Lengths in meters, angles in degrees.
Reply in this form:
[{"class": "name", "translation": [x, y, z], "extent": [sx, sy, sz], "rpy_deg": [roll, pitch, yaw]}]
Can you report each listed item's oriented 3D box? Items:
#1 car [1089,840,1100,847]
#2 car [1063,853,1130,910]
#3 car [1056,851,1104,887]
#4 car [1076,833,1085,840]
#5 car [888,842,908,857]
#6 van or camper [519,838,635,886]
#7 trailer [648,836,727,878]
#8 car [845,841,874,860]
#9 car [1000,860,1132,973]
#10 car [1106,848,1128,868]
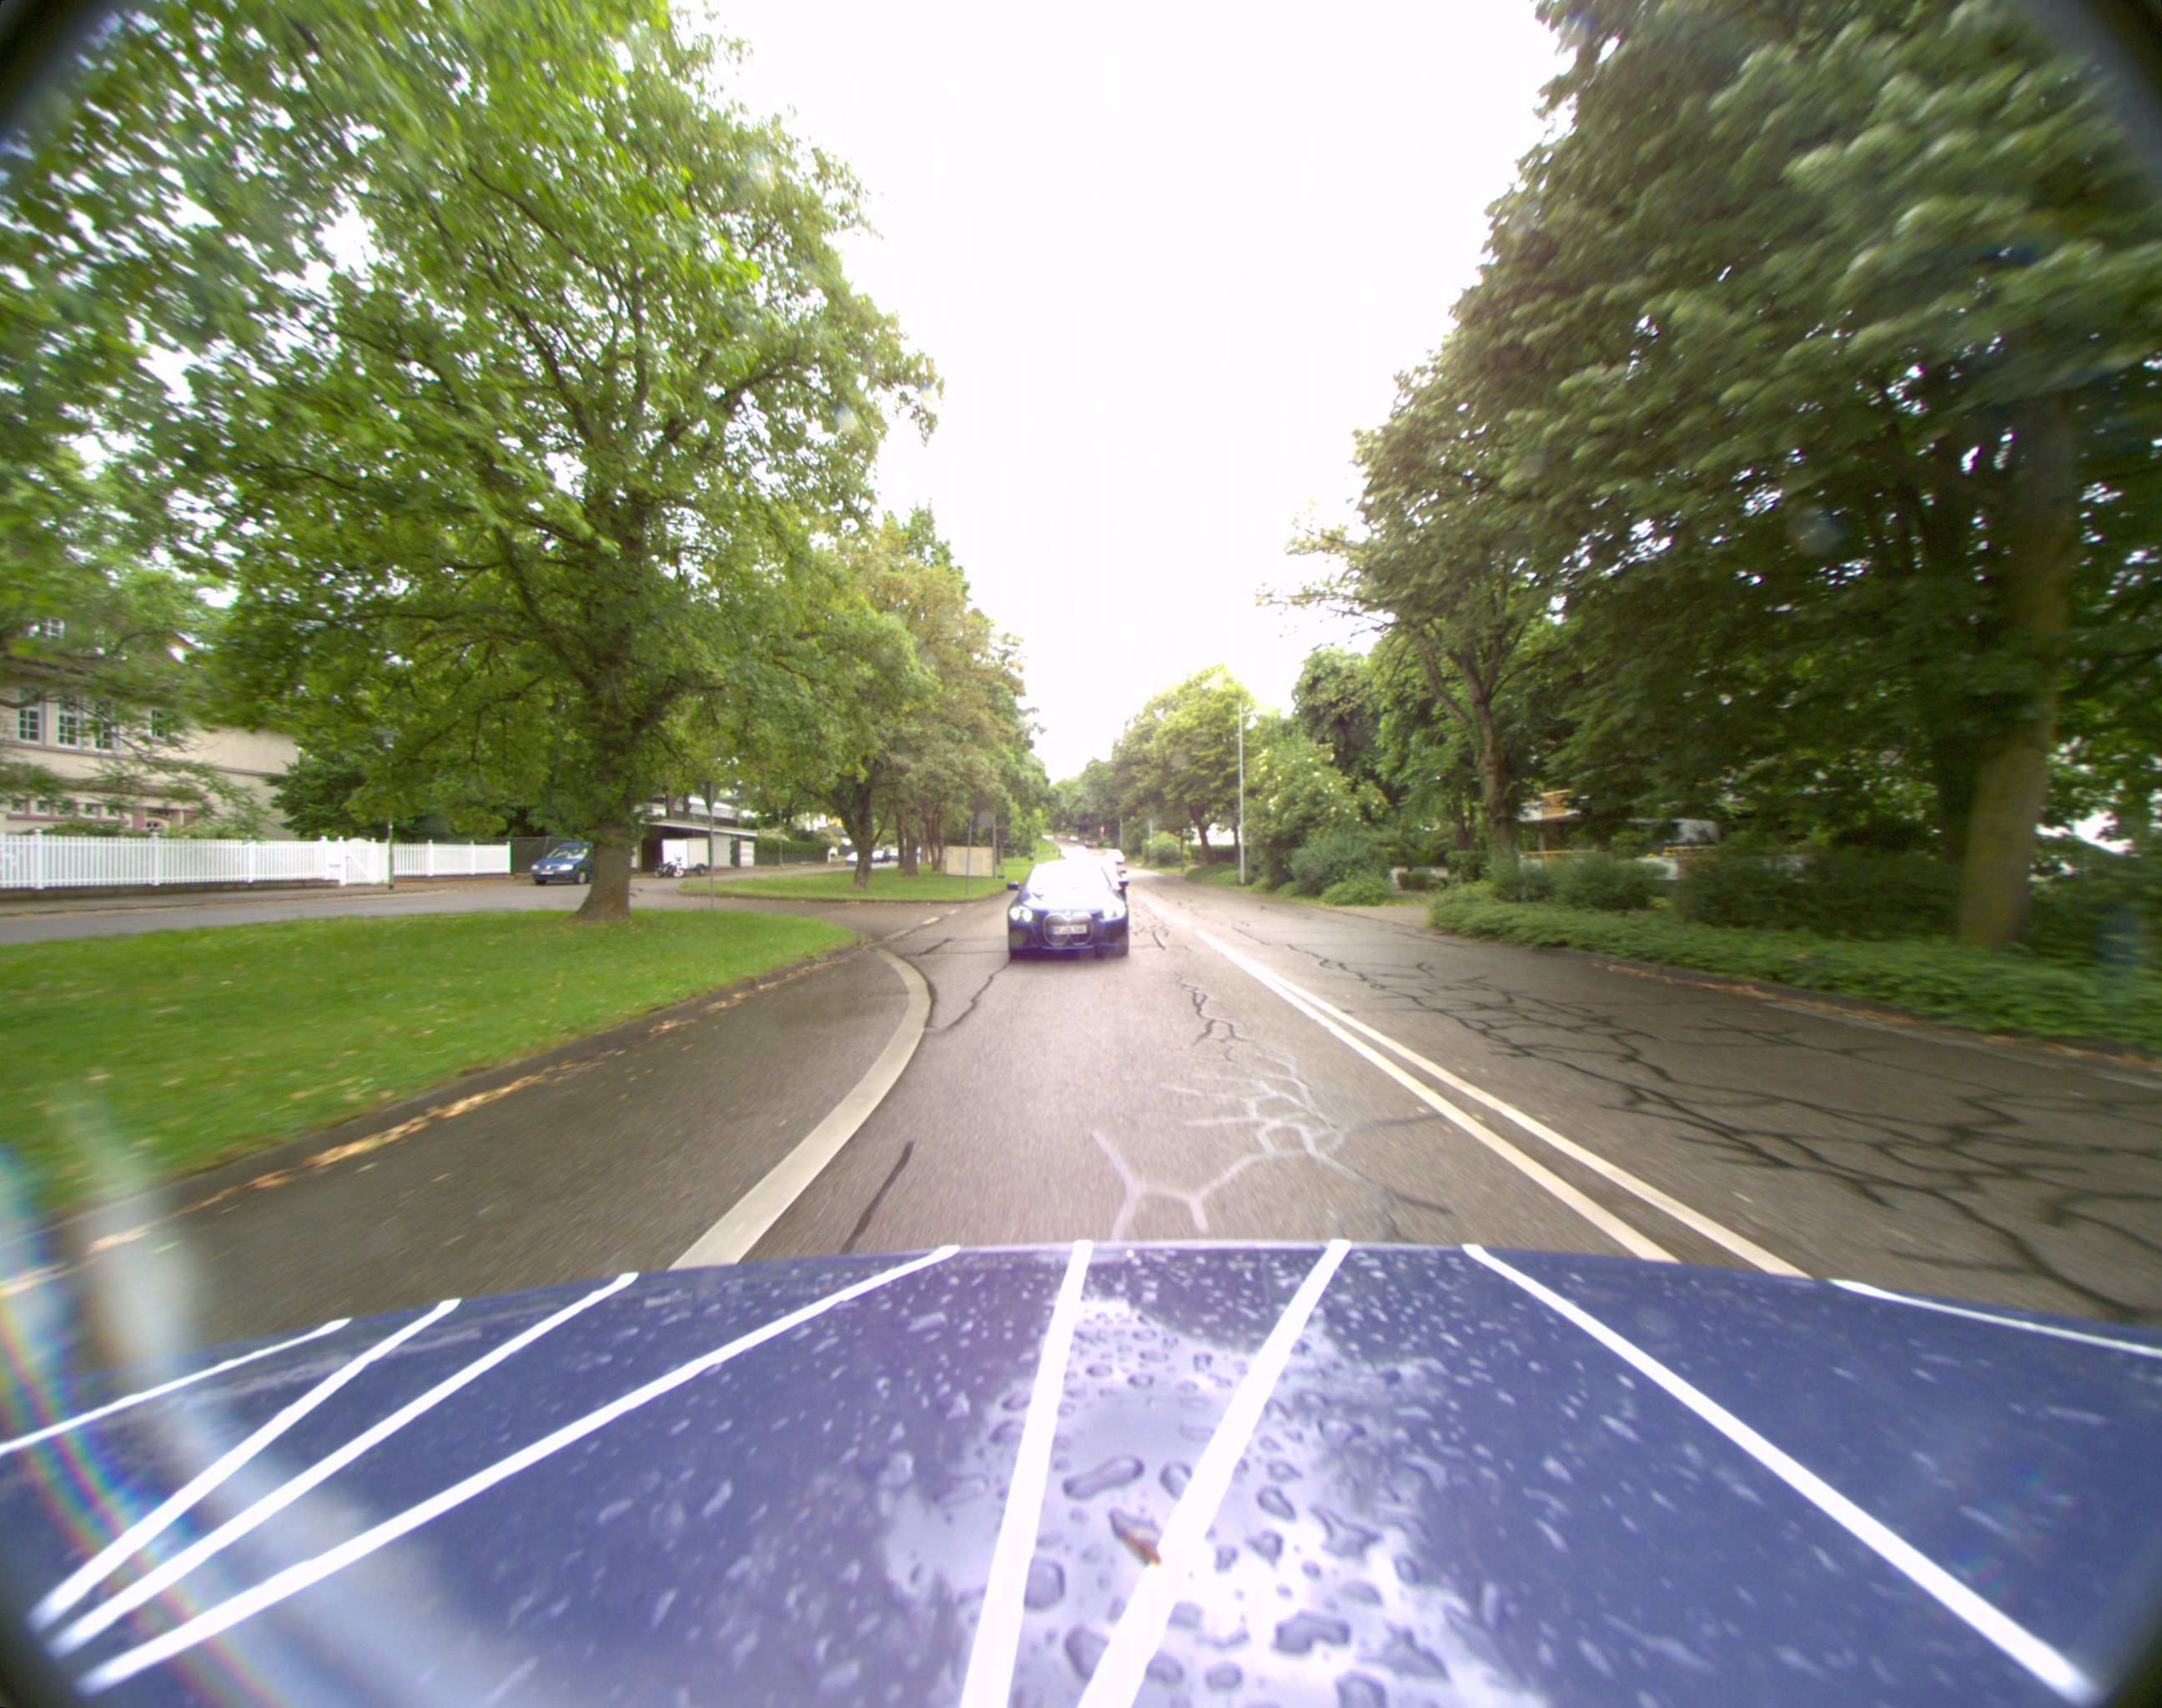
[{"class": "car", "translation": [2.411, -1.890, 139.784], "extent": [1.769, 1.341, 4.376], "rpy_deg": [1, 1, -2]}, {"class": "car", "translation": [0.419, 0.776, 23.302], "extent": [1.826, 1.471, 4.066], "rpy_deg": [-2, 1, -1]}, {"class": "car", "translation": [-0.066, 0.662, 35.515], "extent": [2.032, 1.471, 4.066], "rpy_deg": [-2, 1, -1]}, {"class": "car", "translation": [-0.125, -3.789, 165.280], "extent": [1.825, 1.471, 4.067], "rpy_deg": [0, 1, 2]}, {"class": "car", "translation": [-25.824, -0.616, 107.520], "extent": [1.999, 2.001, 4.000], "rpy_deg": [0, -1, -2]}, {"class": "van or camper", "translation": [-21.279, 0.290, 32.381], "extent": [1.999, 1.798, 4.773], "rpy_deg": [-2, 1, -5]}, {"class": "trailer", "translation": [-21.595, 0.131, 41.967], "extent": [1.771, 2.104, 5.191], "rpy_deg": [-2, 1, -3]}, {"class": "car", "translation": [-24.409, -0.373, 83.834], "extent": [1.999, 2.002, 3.999], "rpy_deg": [0, 1, -1]}, {"class": "car", "translation": [-0.230, 0.906, 12.888], "extent": [1.826, 1.471, 4.066], "rpy_deg": [-2, 1, -1]}, {"class": "car", "translation": [3.713, 0.419, 79.346], "extent": [1.999, 2.001, 4.573], "rpy_deg": [0, -1, -2]}]
